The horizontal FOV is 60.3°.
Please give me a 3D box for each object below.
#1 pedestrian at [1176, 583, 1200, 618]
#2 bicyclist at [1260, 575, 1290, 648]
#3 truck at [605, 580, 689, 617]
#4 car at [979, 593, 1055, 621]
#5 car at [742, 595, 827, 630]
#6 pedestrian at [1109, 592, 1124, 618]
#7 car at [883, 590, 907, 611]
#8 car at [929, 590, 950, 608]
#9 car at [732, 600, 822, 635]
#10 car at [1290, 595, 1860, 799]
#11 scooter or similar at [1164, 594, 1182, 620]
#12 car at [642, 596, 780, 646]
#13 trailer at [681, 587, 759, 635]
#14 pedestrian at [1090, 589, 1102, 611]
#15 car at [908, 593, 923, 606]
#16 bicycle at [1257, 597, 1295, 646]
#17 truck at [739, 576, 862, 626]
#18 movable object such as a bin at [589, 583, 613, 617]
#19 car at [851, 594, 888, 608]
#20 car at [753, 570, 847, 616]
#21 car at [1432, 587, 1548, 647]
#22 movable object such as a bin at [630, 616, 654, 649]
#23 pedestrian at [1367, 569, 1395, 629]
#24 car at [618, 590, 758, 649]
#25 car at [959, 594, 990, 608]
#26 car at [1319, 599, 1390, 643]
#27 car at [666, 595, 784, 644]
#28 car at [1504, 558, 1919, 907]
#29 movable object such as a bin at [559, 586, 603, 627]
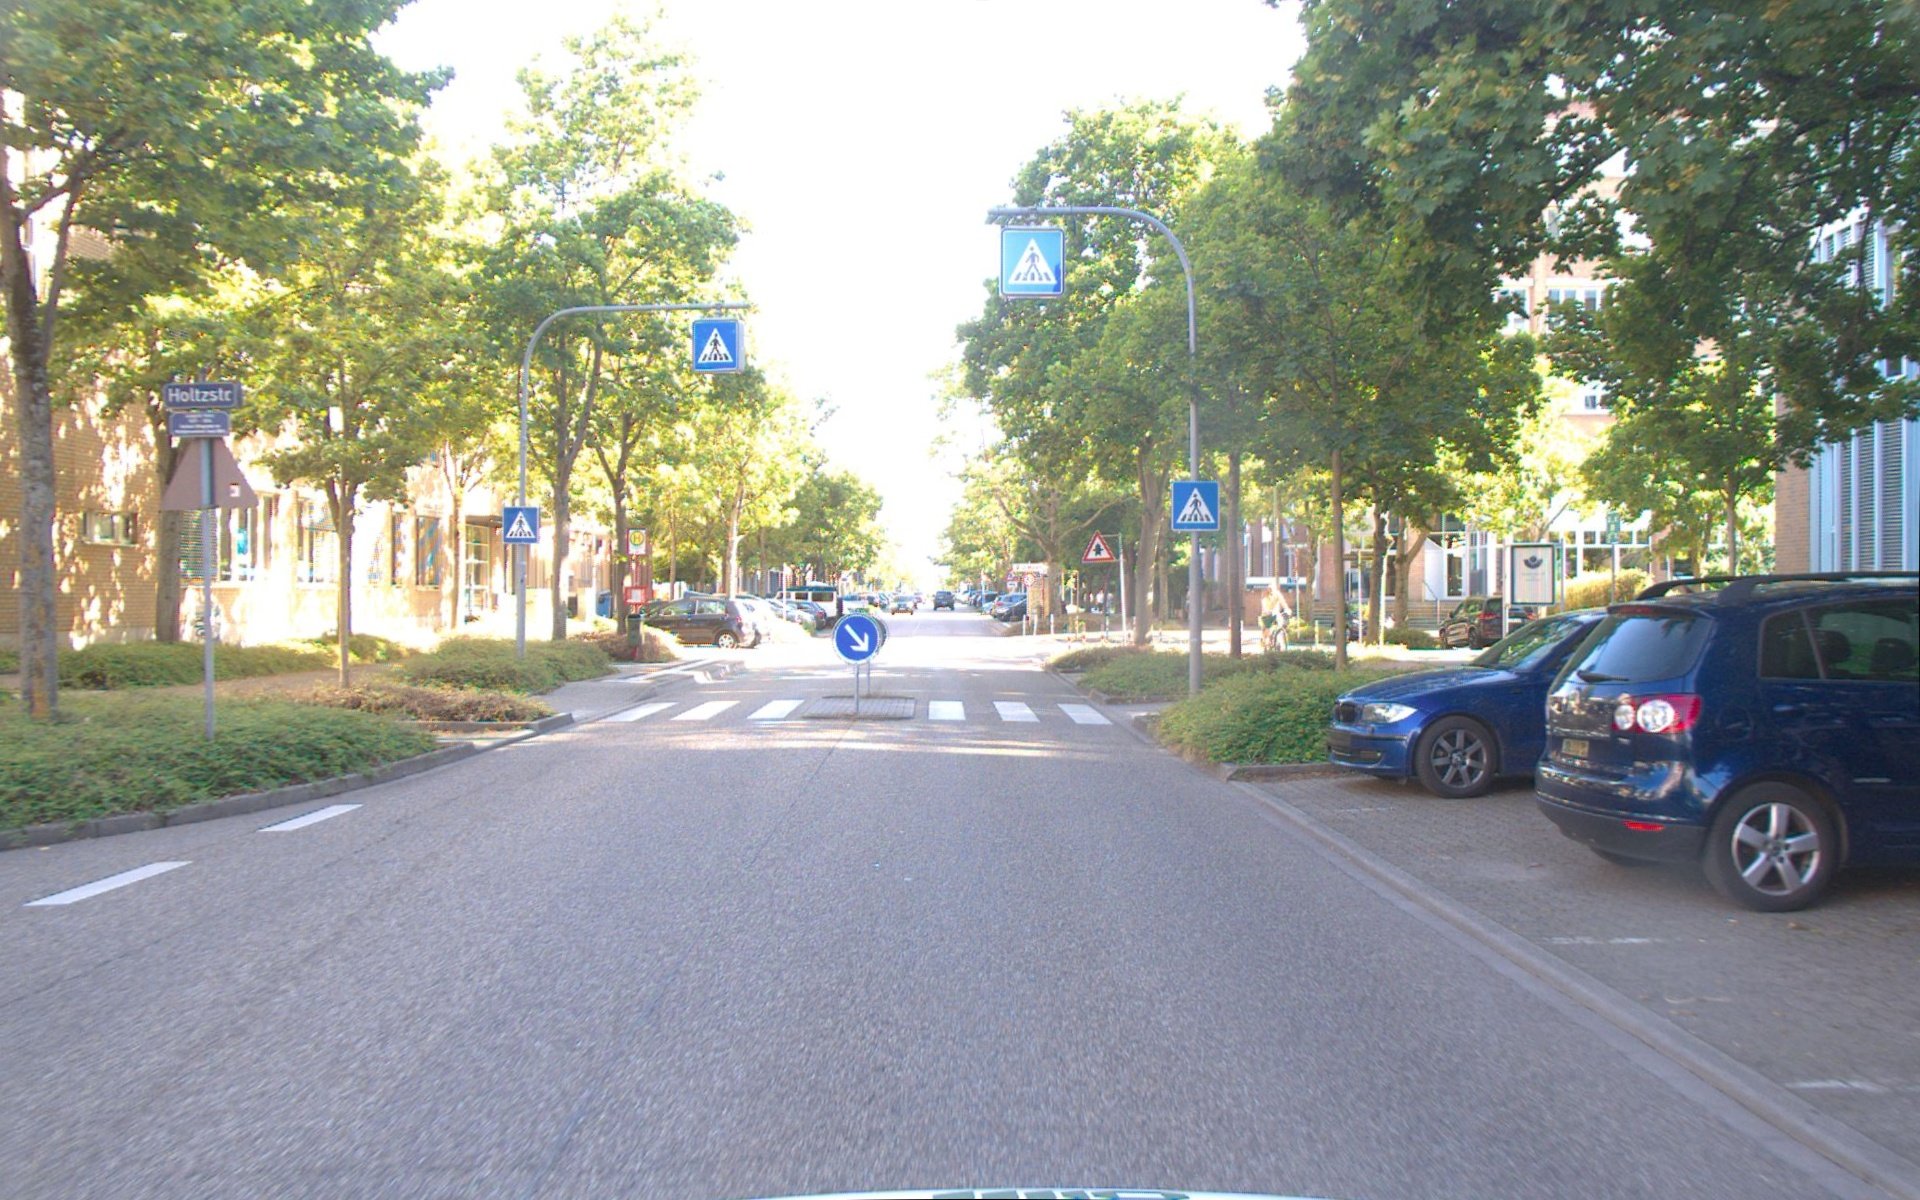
[{"bbox_3d":[11.504,0.021,83.411,0.902,1.740,0.695,-3,1,-14],"label":"pedestrian"},{"bbox_3d":[7.310,0.257,38.366,0.526,1.665,0.822,0,0,0],"label":"bicyclist"},{"bbox_3d":[-23.808,-0.105,126.114,5.982,2.752,2.576,-1,0,-3],"label":"truck"},{"bbox_3d":[3.417,0.419,99.644,4.269,1.625,1.936,-1,0,-7],"label":"car"},{"bbox_3d":[-8.123,0.555,76.747,3.701,1.518,1.833,1,0,0],"label":"car"},{"bbox_3d":[10.645,0.334,112.256,0.684,1.740,0.918,-3,1,-12],"label":"pedestrian"},{"bbox_3d":[-5.046,0.033,128.109,1.743,1.538,3.999,0,0,-1],"label":"car"},{"bbox_3d":[-1.982,-0.108,158.575,1.894,1.625,4.365,-1,0,-1],"label":"car"},{"bbox_3d":[-8.220,0.784,74.501,3.755,1.486,1.733,1,0,2],"label":"car"},{"bbox_3d":[4.927,0.737,13.558,4.035,1.394,1.653,-2,0,-5],"label":"car"},{"bbox_3d":[11.417,0.367,88.767,0.538,1.348,1.803,1,0,-6],"label":"scooter or similar"},{"bbox_3d":[-7.876,0.659,52.551,4.067,1.427,1.800,2,0,-2],"label":"car"},{"bbox_3d":[-9.061,0.398,62.603,2.669,1.717,1.712,1,0,-1],"label":"trailer"},{"bbox_3d":[9.586,-0.003,116.480,0.686,1.483,0.715,-1,0,-4],"label":"pedestrian"},{"bbox_3d":[-5.837,-0.047,217.007,1.854,1.713,4.350,-1,0,-3],"label":"car"},{"bbox_3d":[7.311,0.486,38.315,0.523,1.097,1.920,0,0,0],"label":"bicycle"},{"bbox_3d":[-8.201,0.053,85.309,6.105,2.464,2.187,-1,0,-1],"label":"truck"},{"bbox_3d":[-17.165,-0.005,79.067,1.125,1.648,1.437,0,0,-13],"label":"movable object such as a bin"},{"bbox_3d":[-9.553,0.089,174.472,3.814,1.489,1.857,0,0,-2],"label":"car"},{"bbox_3d":[-7.713,-0.331,80.125,4.392,2.087,1.999,1,0,-3],"label":"car"},{"bbox_3d":[15.052,0.517,47.212,1.703,1.593,4.362,1,-2,-3],"label":"car"},{"bbox_3d":[-7.210,0.736,37.502,0.432,0.744,0.408,1,0,-1],"label":"movable object such as a bin"},{"bbox_3d":[11.443,-0.022,44.990,0.528,1.610,0.647,0,0,-10],"label":"pedestrian"},{"bbox_3d":[-8.146,0.570,49.788,3.906,1.598,1.728,2,0,-2],"label":"car"},{"bbox_3d":[1.898,0.108,220.312,3.910,1.823,1.997,0,0,-6],"label":"car"},{"bbox_3d":[14.319,0.730,60.193,1.618,1.488,3.917,0,1,-1],"label":"car"},{"bbox_3d":[-7.877,0.638,55.667,3.678,1.477,1.754,2,0,-2],"label":"car"},{"bbox_3d":[5.262,0.592,8.929,4.044,1.618,1.658,-2,-1,-5],"label":"car"},{"bbox_3d":[-16.978,0.282,74.124,1.566,1.828,1.664,0,0,1],"label":"movable object such as a bin"}]
